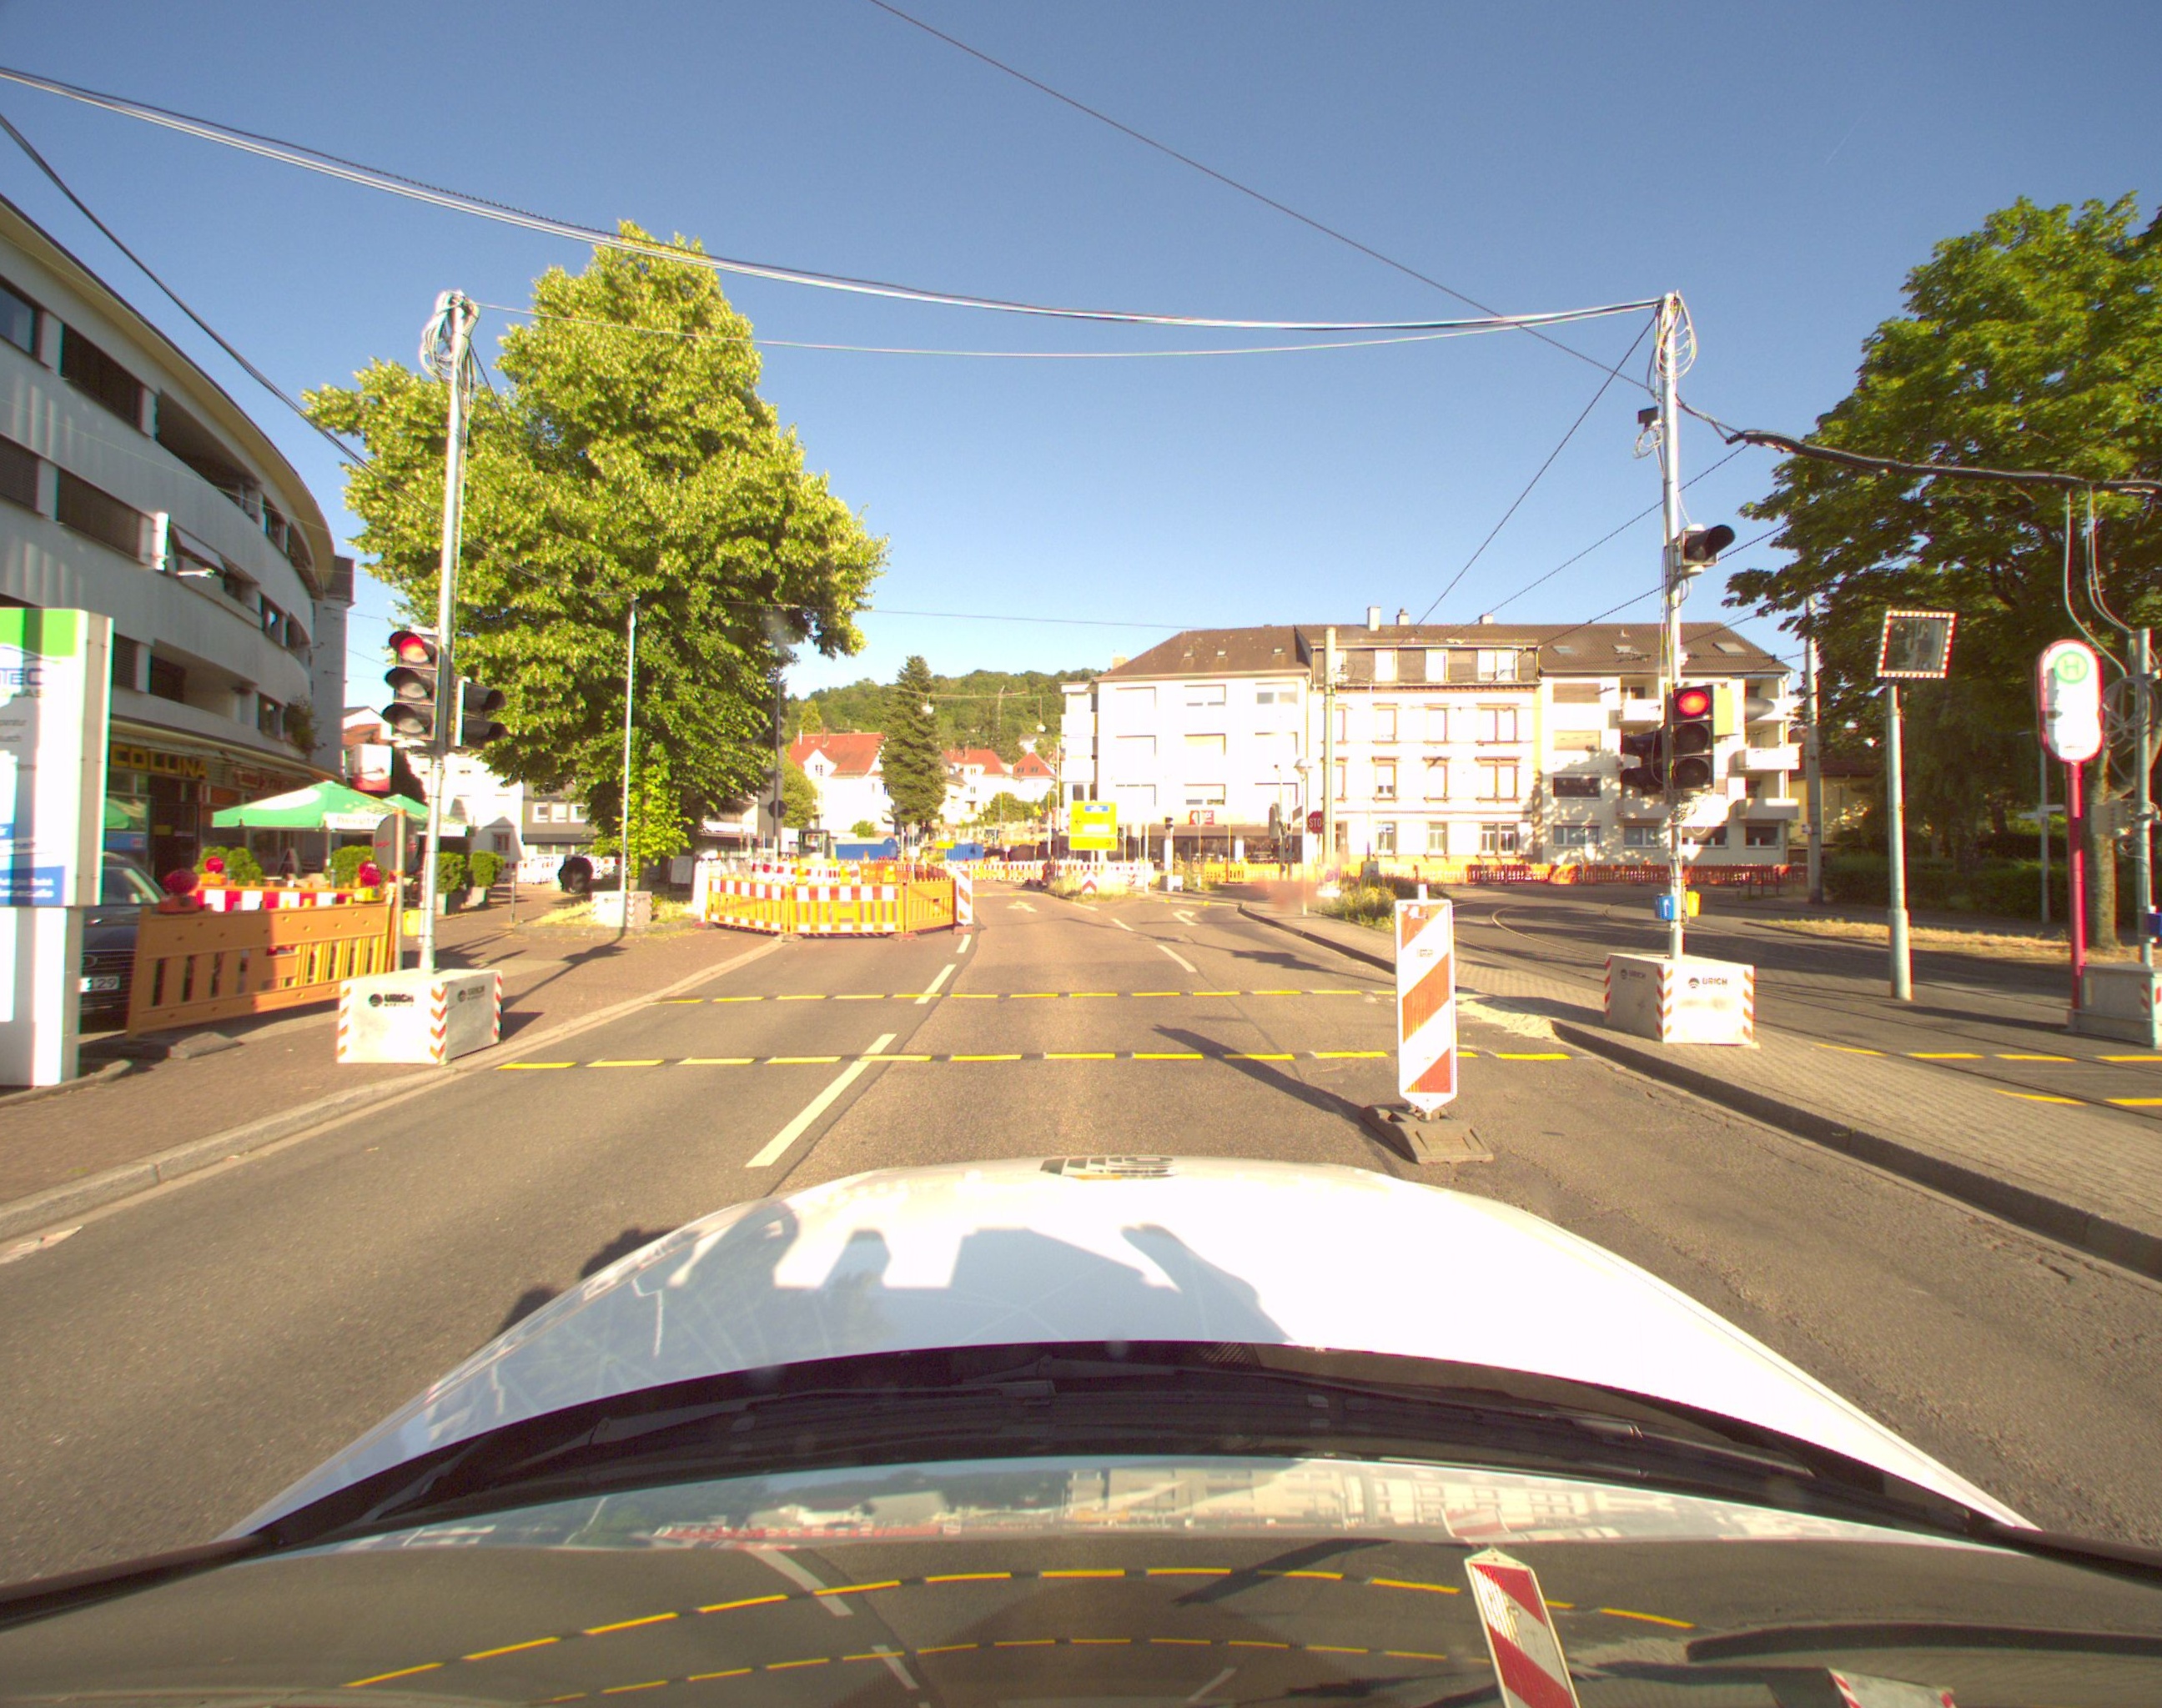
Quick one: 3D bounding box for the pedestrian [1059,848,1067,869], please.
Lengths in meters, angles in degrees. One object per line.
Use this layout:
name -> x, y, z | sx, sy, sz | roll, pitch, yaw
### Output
pedestrian -> -1.471, 0.369, 66.618 | 0.638, 1.760, 0.718 | 0, 0, 2

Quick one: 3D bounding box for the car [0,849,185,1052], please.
car -> -9.604, 0.717, 7.527 | 4.246, 1.454, 1.660 | 1, 0, 43

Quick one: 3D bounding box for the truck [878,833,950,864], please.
truck -> -13.991, -0.437, 69.169 | 2.340, 2.416, 9.184 | 0, 0, 13

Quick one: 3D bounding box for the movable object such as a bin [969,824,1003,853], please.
movable object such as a bin -> -9.280, -1.489, 79.792 | 2.176, 2.690, 4.013 | 0, 0, 12

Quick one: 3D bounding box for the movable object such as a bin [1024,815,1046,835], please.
movable object such as a bin -> -6.434, -4.041, 114.187 | 2.176, 2.690, 4.013 | 0, 0, 12
